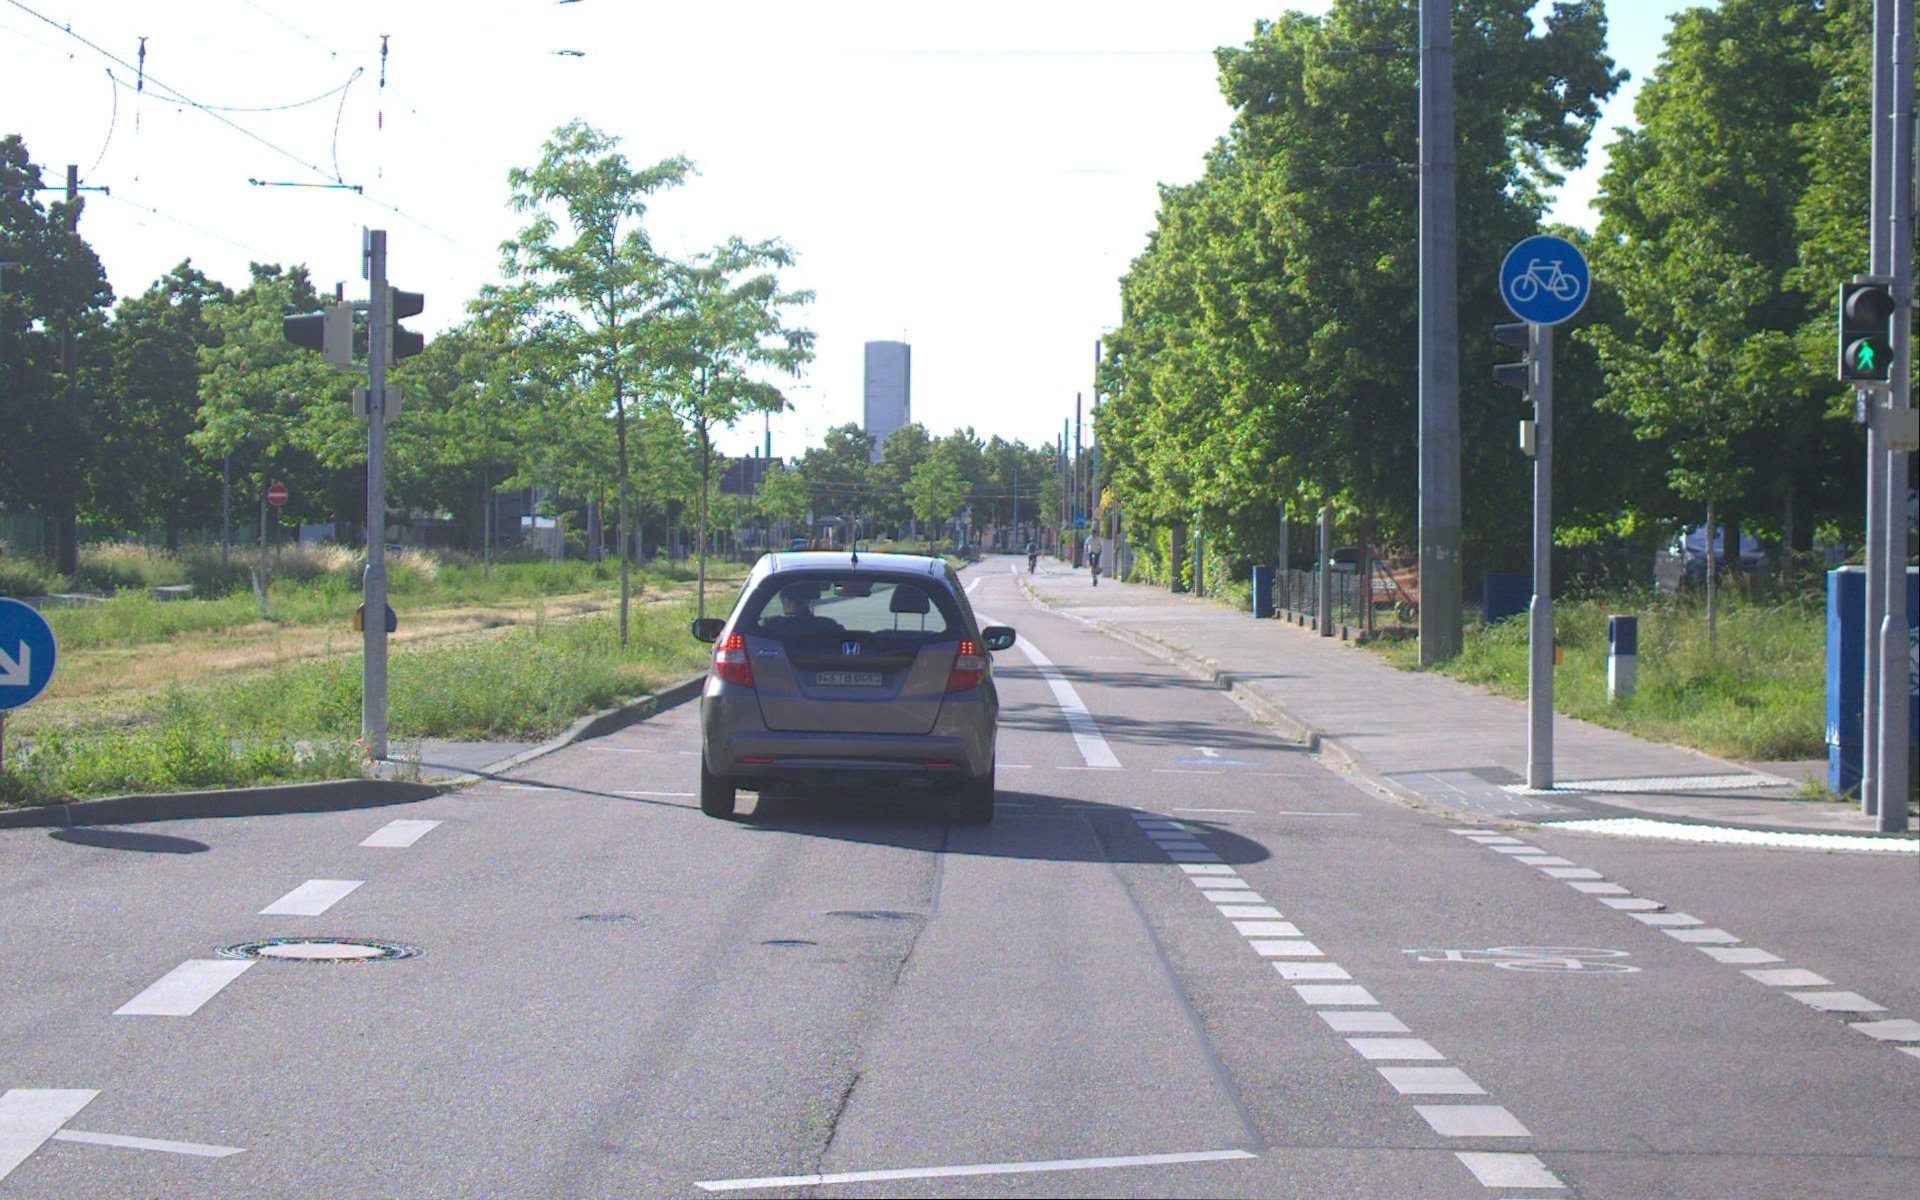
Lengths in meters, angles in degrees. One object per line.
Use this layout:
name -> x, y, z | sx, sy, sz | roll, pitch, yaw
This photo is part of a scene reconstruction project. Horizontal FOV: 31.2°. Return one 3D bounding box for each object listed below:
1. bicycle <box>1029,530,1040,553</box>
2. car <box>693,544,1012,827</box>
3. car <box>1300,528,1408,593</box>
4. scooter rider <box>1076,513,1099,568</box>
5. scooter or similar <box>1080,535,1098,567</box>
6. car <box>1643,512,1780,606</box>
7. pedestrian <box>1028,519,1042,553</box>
bicycle -> 3.956, -3.116, 182.831 | 0.512, 1.237, 3.090 | 0, 1, -1
car -> -0.563, 0.445, 20.513 | 1.624, 1.494, 3.456 | 2, 1, 2
car -> 8.725, -0.884, 76.375 | 1.774, 1.382, 3.870 | 0, 1, -3
scooter rider -> 4.433, -2.078, 119.768 | 0.716, 1.894, 0.935 | 0, 1, -1
scooter or similar -> 4.485, -1.702, 119.909 | 0.539, 1.114, 1.417 | 0, 1, -1
car -> 16.564, -0.914, 76.022 | 1.872, 1.960, 5.167 | 1, 1, 0
pedestrian -> 3.971, -3.409, 182.748 | 0.722, 1.794, 1.164 | 0, 1, -1
